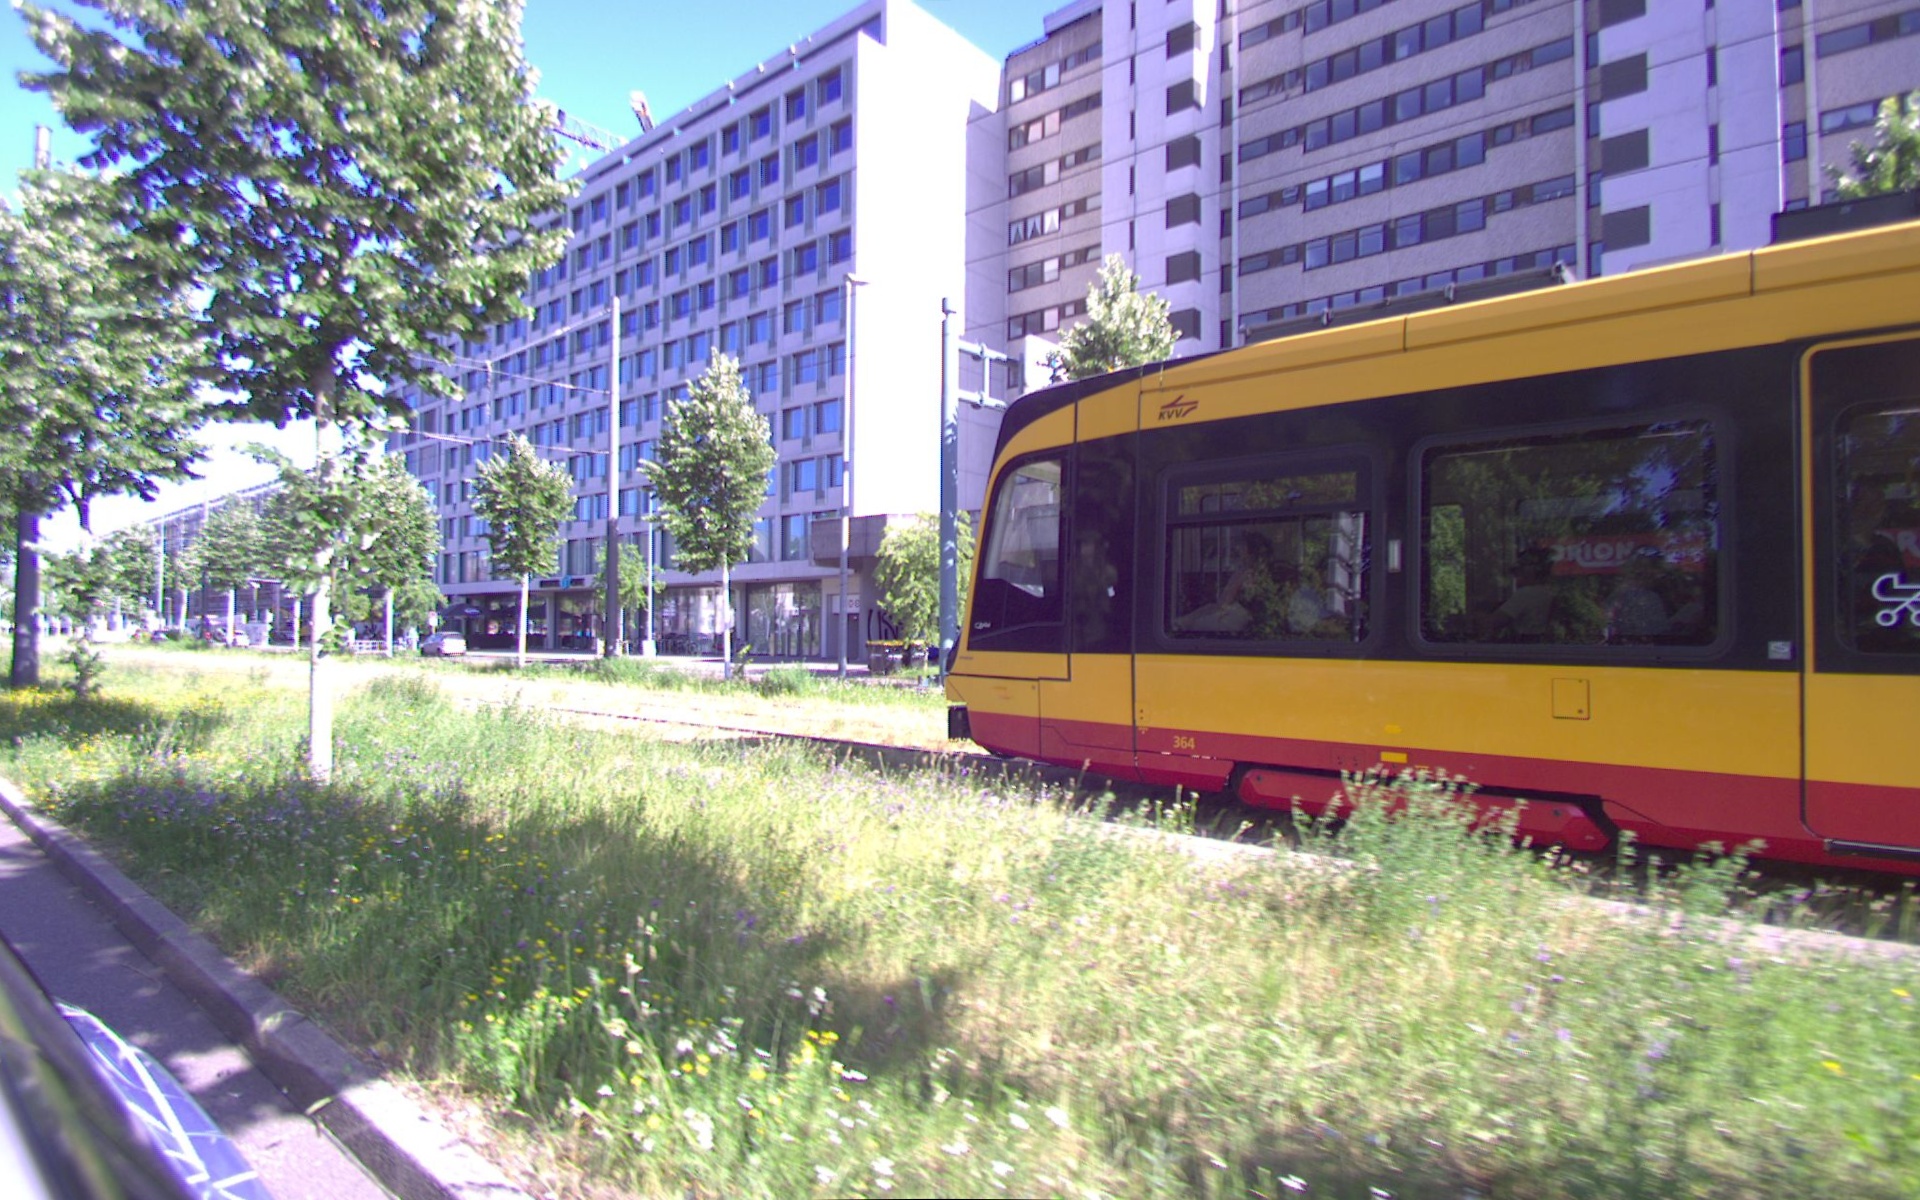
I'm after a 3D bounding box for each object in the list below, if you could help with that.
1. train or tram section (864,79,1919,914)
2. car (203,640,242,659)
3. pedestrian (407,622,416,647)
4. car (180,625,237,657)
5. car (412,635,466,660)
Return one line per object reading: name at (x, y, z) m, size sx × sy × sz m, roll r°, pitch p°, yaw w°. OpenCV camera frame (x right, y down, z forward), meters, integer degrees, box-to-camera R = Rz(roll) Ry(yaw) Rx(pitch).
train or tram section at (5.211, -0.464, 4.952) m, size 14.140 × 3.697 × 1.973 m, roll -1°, pitch -2°, yaw 40°
car at (-60.968, 4.078, 83.692) m, size 3.811 × 1.519 × 1.804 m, roll -1°, pitch -2°, yaw 41°
pedestrian at (-40.303, 2.528, 74.330) m, size 0.501 × 1.854 × 0.516 m, roll 1°, pitch -2°, yaw -38°
car at (-45.785, 2.457, 61.665) m, size 4.284 × 1.833 × 1.972 m, roll -1°, pitch -2°, yaw 42°
car at (-33.770, 3.055, 65.573) m, size 3.771 × 1.561 × 1.841 m, roll -1°, pitch -1°, yaw 41°
